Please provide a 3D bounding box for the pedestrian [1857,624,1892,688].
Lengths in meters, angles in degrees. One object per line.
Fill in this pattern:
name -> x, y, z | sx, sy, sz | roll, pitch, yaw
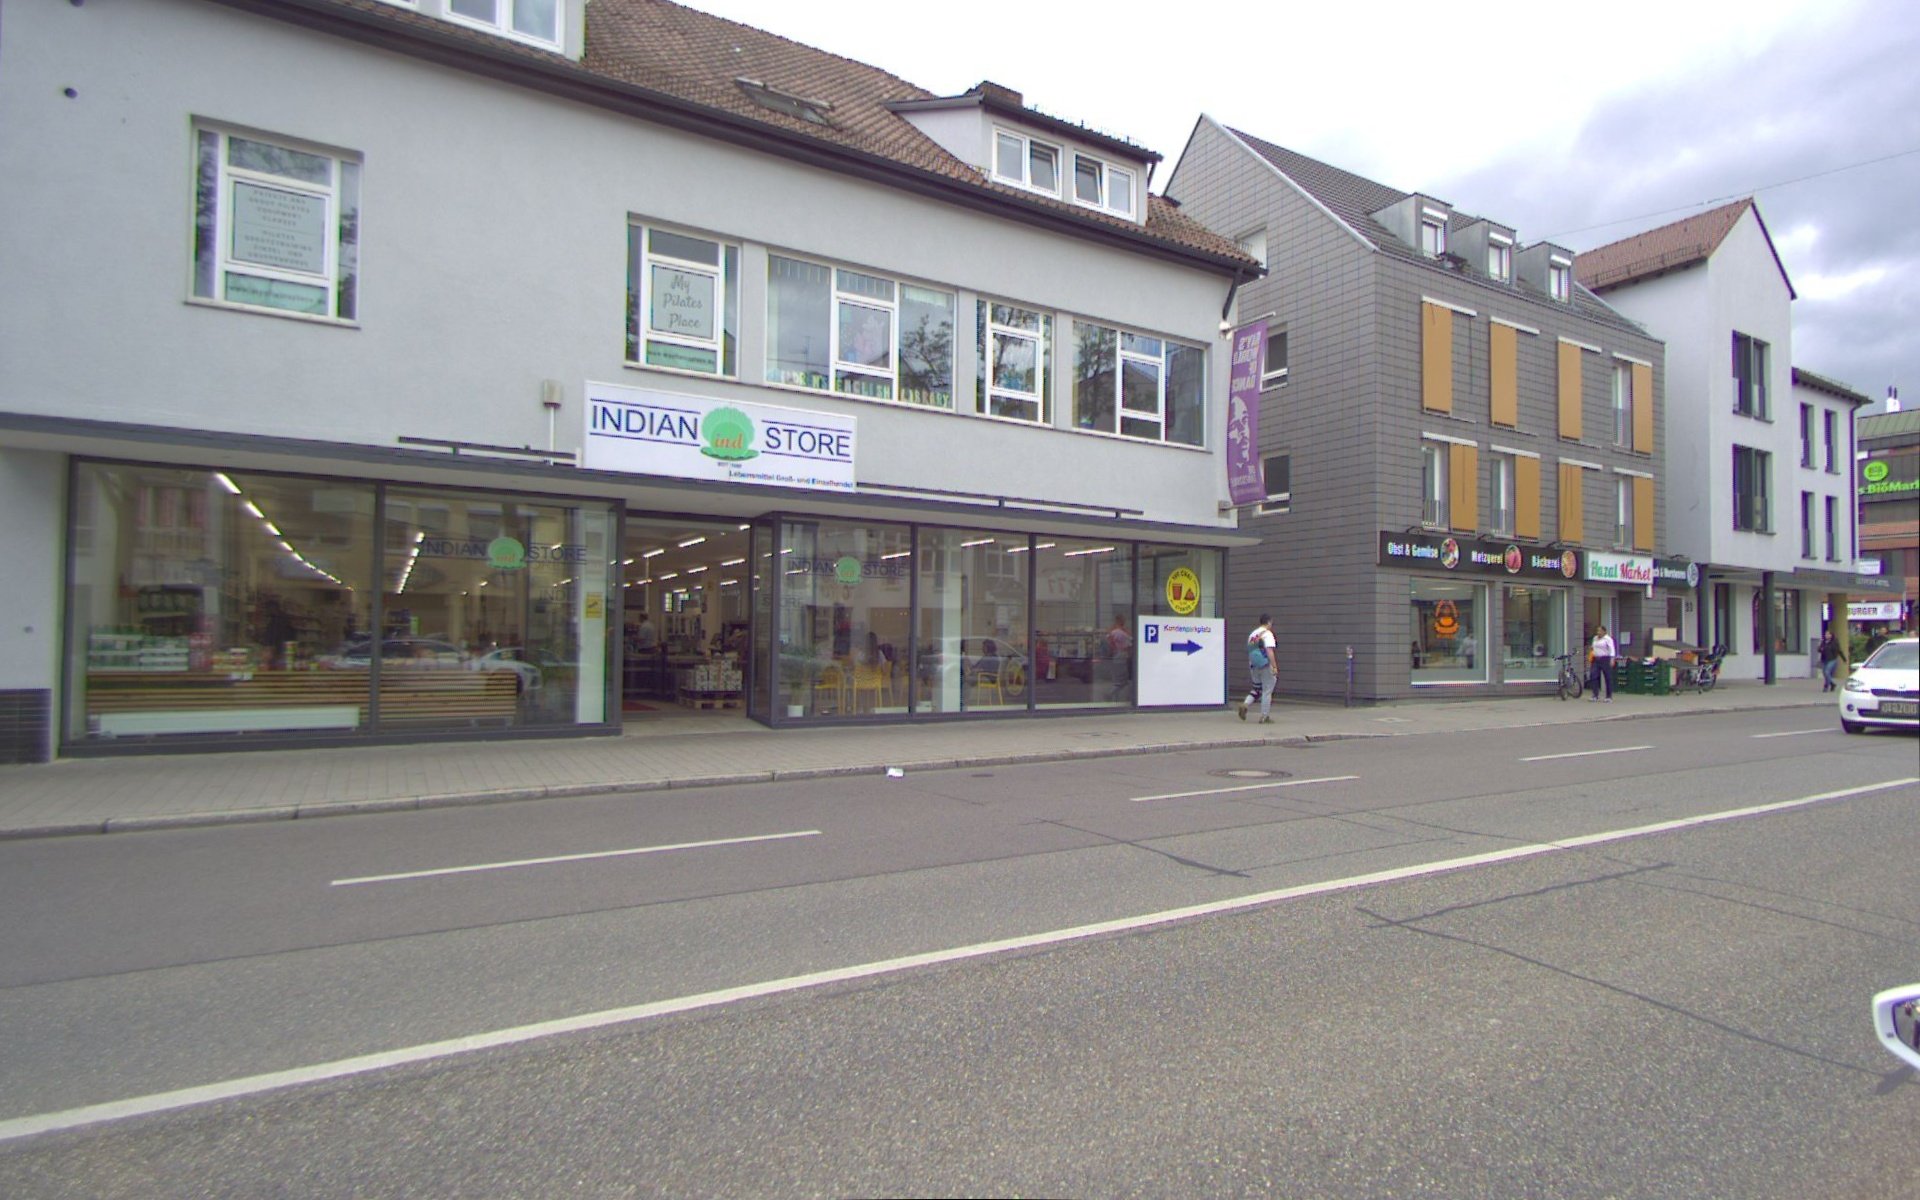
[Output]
pedestrian -> 25.946, 1.575, 28.509 | 0.639, 1.799, 0.566 | 1, -2, -31

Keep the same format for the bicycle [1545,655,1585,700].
bicycle -> 13.601, 1.734, 22.575 | 1.472, 0.966, 0.323 | 2, -2, -41

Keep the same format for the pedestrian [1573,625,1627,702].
pedestrian -> 13.960, 1.362, 21.904 | 0.744, 1.631, 0.725 | 1, -2, -30

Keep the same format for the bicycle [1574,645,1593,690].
bicycle -> 16.360, 1.763, 26.364 | 0.381, 1.142, 1.286 | -1, -2, 33

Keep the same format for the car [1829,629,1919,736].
car -> 14.934, 1.212, 15.293 | 3.424, 1.508, 1.566 | 1, -3, -31

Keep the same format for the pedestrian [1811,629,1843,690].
pedestrian -> 23.896, 1.630, 27.689 | 0.644, 1.672, 0.556 | -1, -2, 40

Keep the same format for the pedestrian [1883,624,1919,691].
pedestrian -> 25.824, 1.569, 27.536 | 0.643, 1.814, 0.676 | 1, -2, -40

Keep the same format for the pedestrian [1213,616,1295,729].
pedestrian -> 4.719, 1.140, 16.135 | 0.969, 1.728, 0.750 | 1, 1, -30

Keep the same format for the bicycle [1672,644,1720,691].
bicycle -> 19.279, 1.753, 26.304 | 1.806, 1.201, 0.384 | 1, -2, -33
